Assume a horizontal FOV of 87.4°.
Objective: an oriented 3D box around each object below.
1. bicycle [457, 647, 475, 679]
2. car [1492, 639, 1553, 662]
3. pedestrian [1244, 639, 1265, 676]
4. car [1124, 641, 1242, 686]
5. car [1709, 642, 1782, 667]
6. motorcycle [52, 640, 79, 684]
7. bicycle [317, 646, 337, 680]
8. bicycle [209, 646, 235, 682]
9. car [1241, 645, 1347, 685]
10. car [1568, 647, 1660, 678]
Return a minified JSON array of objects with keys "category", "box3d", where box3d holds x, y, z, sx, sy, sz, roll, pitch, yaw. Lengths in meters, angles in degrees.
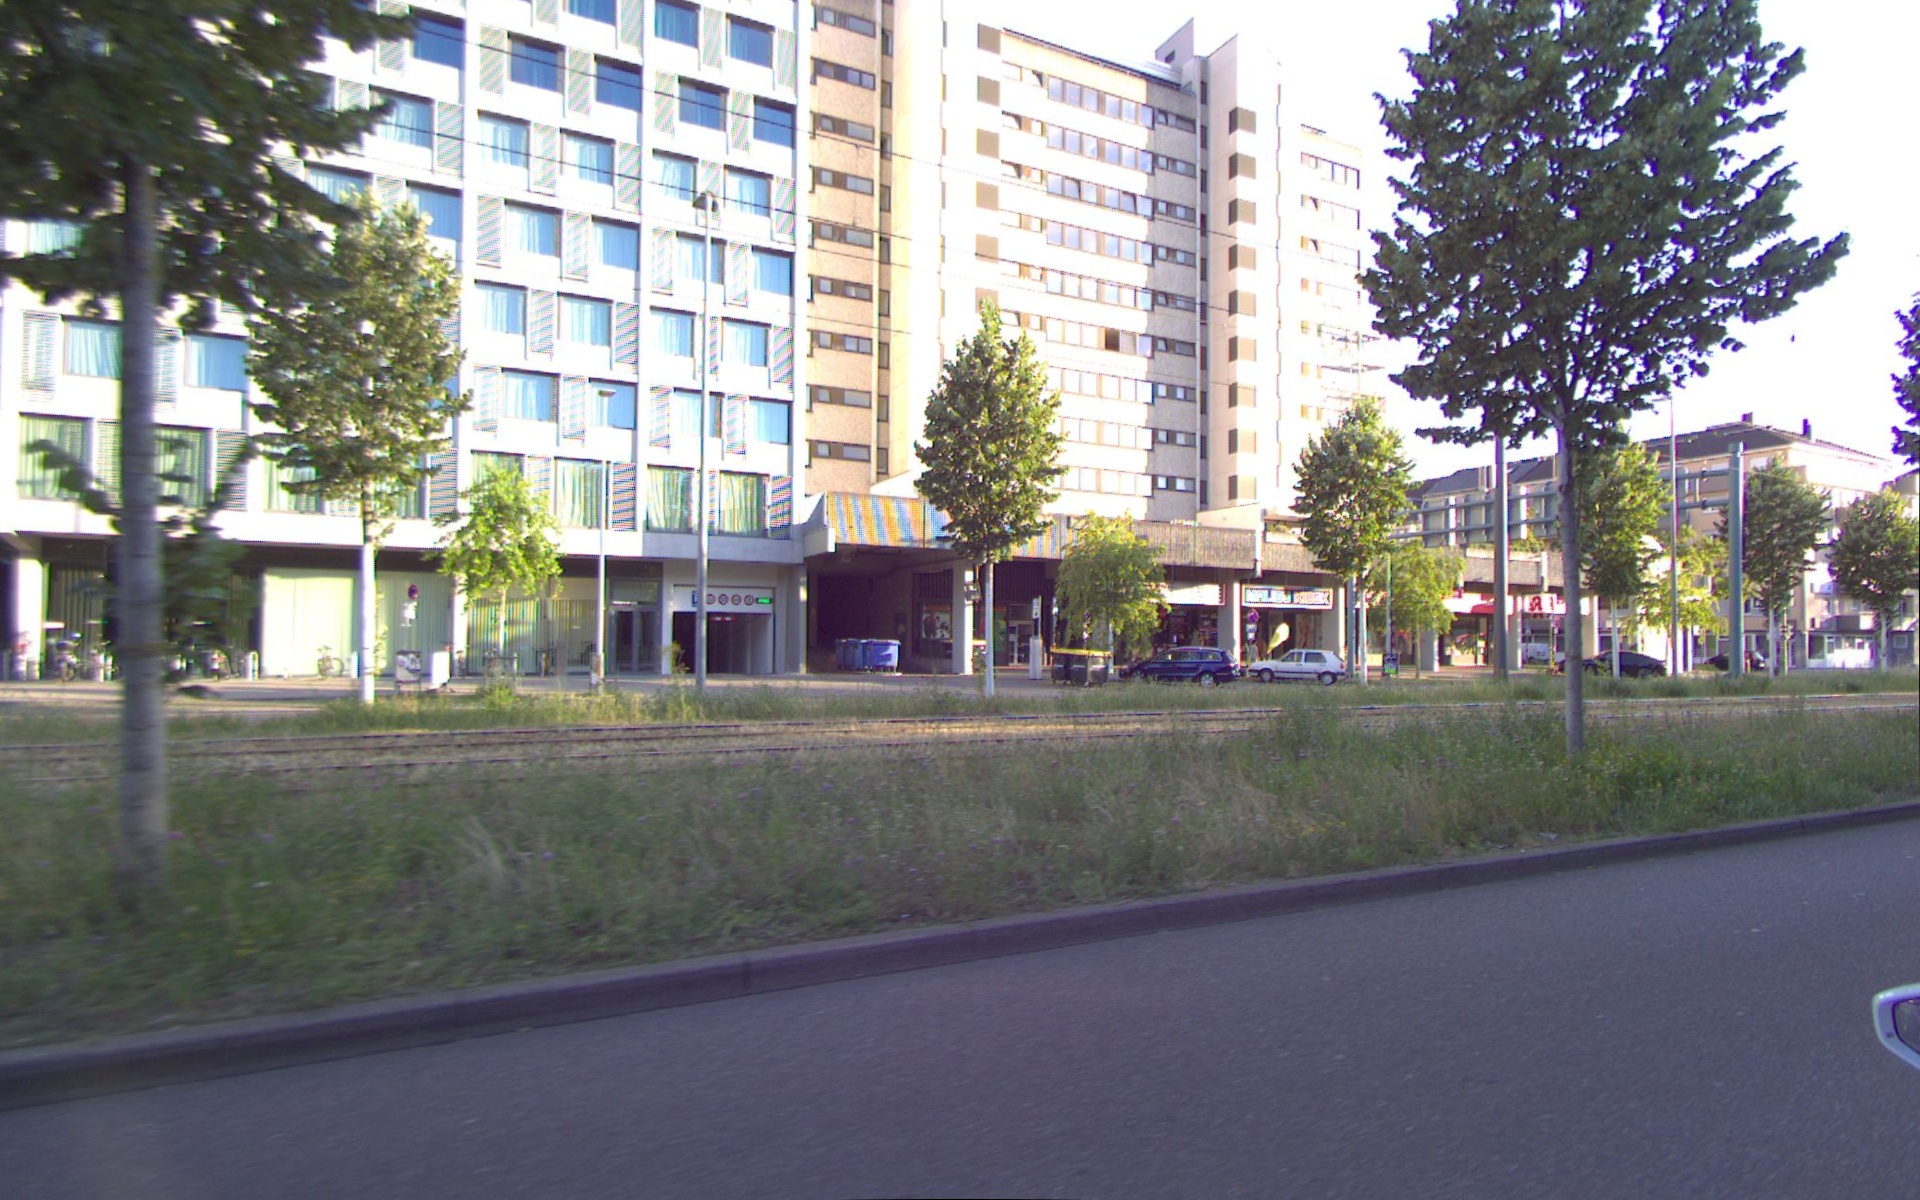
[{"category":"bicycle","box3d":[-16.311,2.069,33.183,0.416,1.033,1.779,1,-2,-29]},{"category":"car","box3d":[51.758,4.631,92.503,2.139,2.016,4.471,2,-2,-27]},{"category":"pedestrian","box3d":[13.667,2.665,46.582,0.652,1.683,0.662,2,0,-25]},{"category":"car","box3d":[8.750,2.448,39.340,4.204,1.611,2.008,0,-2,24]},{"category":"car","box3d":[60.842,4.179,77.878,2.163,1.870,3.920,1,-3,-27]},{"category":"motorcycle","box3d":[-25.739,1.758,28.919,0.512,1.187,1.875,2,-2,-41]},{"category":"bicycle","box3d":[-19.971,1.977,31.707,0.416,1.033,1.779,1,-2,-29]},{"category":"bicycle","box3d":[-22.309,1.911,30.384,0.416,1.033,1.735,1,-2,-29]},{"category":"car","box3d":[14.106,2.712,42.433,4.053,1.455,1.824,1,0,25]},{"category":"car","box3d":[33.507,3.195,51.536,3.658,1.469,1.744,-1,-3,22]}]
